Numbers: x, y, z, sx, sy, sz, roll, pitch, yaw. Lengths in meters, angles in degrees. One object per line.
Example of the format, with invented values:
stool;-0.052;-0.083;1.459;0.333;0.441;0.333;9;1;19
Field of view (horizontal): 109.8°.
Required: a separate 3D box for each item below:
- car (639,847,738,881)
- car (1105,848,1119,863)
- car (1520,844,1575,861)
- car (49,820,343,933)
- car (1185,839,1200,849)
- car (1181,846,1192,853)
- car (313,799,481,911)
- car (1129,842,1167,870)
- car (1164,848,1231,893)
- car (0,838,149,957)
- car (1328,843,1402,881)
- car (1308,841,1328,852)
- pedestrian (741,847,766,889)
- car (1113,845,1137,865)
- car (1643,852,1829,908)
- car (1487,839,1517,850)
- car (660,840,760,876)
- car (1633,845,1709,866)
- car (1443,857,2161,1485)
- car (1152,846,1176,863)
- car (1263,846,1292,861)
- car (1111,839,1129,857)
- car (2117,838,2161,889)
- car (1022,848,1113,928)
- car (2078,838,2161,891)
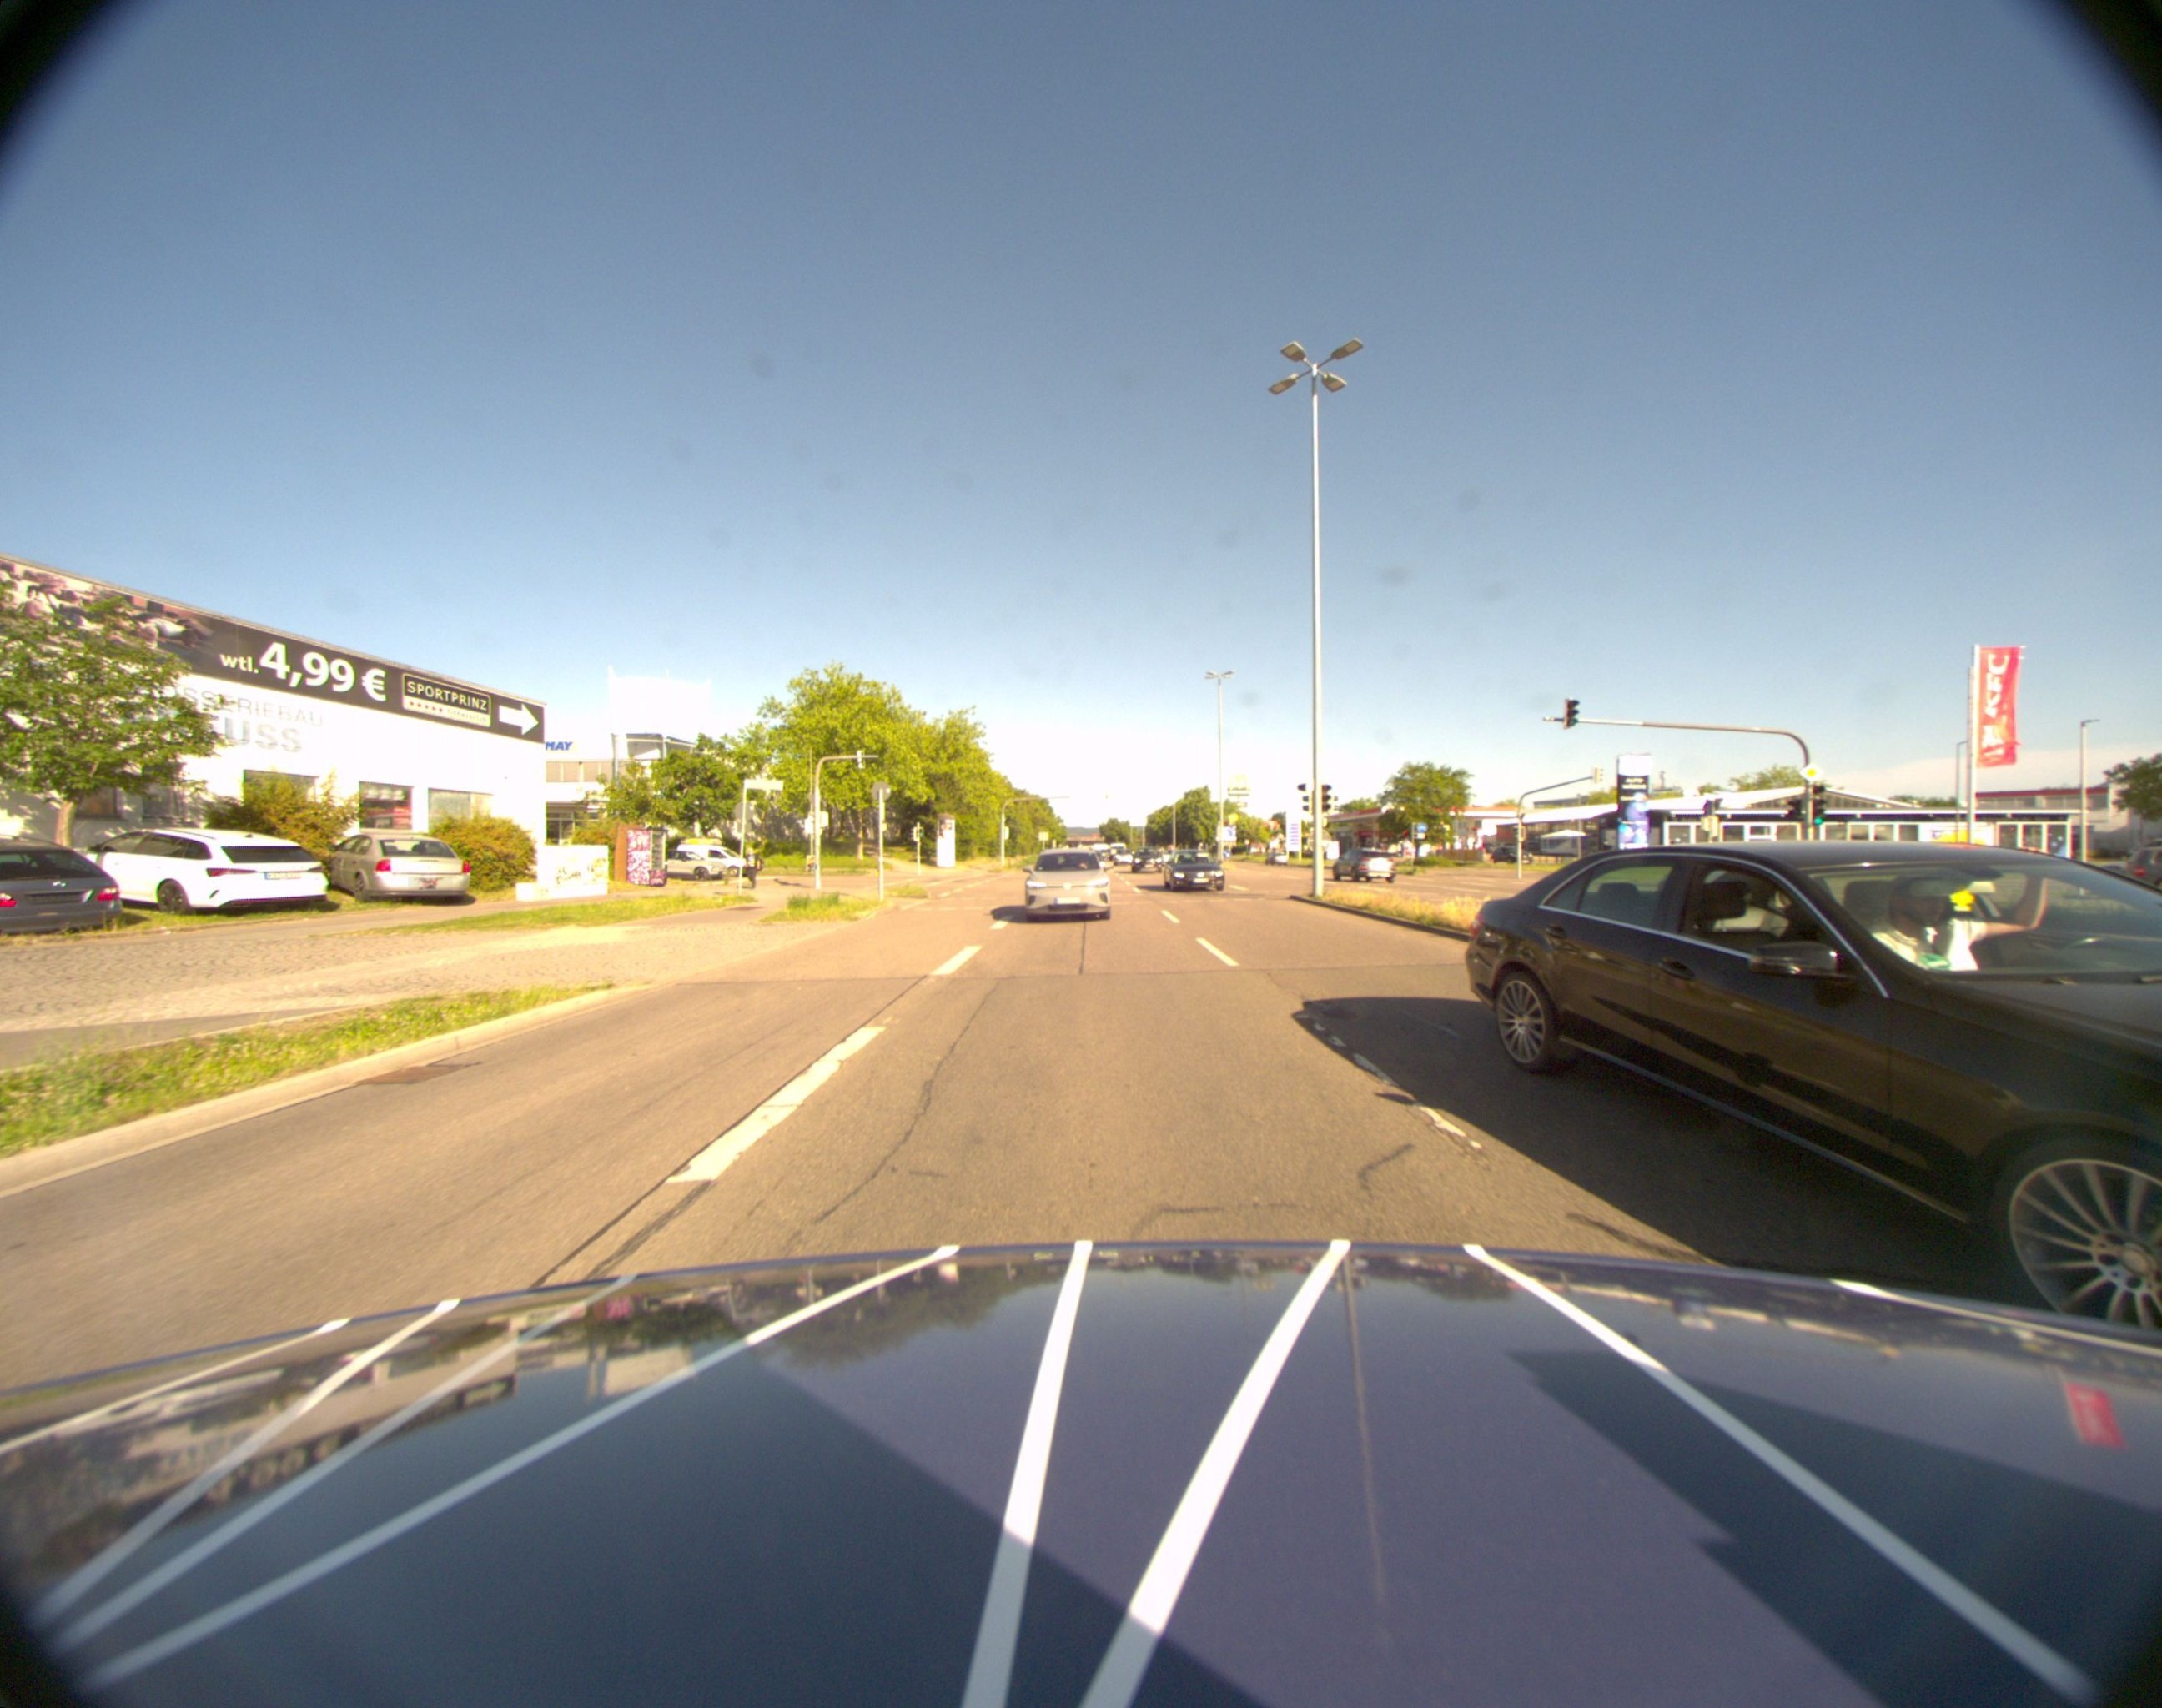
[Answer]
car;-20.116;0.472;39.058;4.100;1.636;1.901;0;2;1
car;4.581;0.236;112.614;1.998;2.002;3.999;-2;1;1
car;37.814;-0.160;61.745;1.900;1.317;4.118;1;1;-1
car;-15.896;0.353;13.719;3.924;1.444;1.726;7;2;12
car;18.454;-1.663;125.994;1.900;1.590;4.266;1;1;1
car;22.371;-0.906;161.425;1.699;1.424;4.458;1;1;1
car;-15.462;-0.013;17.126;3.986;2.002;1.690;8;1;33
car;4.241;0.082;48.810;1.998;1.674;4.695;-2;1;1
car;4.145;0.534;27.694;1.848;1.445;4.265;-1;1;1
car;-15.845;0.486;10.528;3.614;1.283;1.841;7;2;2
car;13.114;0.319;35.387;1.879;1.633;4.170;1;1;0
car;38.593;-1.252;123.827;1.762;1.604;4.118;1;1;-1
pedestrian;-13.298;0.564;30.865;0.759;1.706;0.617;0;2;0
car;4.066;0.064;71.477;1.998;1.779;4.270;-2;1;1
car;19.520;0.717;22.947;1.998;1.465;4.195;0;1;0
car;56.838;-1.240;102.683;1.772;1.432;4.119;0;1;-1
car;-20.740;0.223;42.592;4.692;1.923;1.872;-1;1;1
car;43.592;0.091;56.228;4.116;1.424;1.901;1;1;1
car;3.707;0.810;3.348;1.964;1.474;4.918;-1;1;1
car;7.321;0.013;67.442;1.790;1.447;4.116;0;1;1
car;20.642;-0.022;80.087;1.998;1.517;4.196;0;0;0
car;5.103;-0.737;98.895;2.089;2.230;3.999;-2;1;1
car;36.286;0.300;23.931;1.899;1.652;4.121;-1;1;-42
car;-0.234;0.693;17.932;1.848;1.615;4.265;-1;1;1
car;39.332;0.373;27.517;1.851;1.840;3.820;-3;1;-39
